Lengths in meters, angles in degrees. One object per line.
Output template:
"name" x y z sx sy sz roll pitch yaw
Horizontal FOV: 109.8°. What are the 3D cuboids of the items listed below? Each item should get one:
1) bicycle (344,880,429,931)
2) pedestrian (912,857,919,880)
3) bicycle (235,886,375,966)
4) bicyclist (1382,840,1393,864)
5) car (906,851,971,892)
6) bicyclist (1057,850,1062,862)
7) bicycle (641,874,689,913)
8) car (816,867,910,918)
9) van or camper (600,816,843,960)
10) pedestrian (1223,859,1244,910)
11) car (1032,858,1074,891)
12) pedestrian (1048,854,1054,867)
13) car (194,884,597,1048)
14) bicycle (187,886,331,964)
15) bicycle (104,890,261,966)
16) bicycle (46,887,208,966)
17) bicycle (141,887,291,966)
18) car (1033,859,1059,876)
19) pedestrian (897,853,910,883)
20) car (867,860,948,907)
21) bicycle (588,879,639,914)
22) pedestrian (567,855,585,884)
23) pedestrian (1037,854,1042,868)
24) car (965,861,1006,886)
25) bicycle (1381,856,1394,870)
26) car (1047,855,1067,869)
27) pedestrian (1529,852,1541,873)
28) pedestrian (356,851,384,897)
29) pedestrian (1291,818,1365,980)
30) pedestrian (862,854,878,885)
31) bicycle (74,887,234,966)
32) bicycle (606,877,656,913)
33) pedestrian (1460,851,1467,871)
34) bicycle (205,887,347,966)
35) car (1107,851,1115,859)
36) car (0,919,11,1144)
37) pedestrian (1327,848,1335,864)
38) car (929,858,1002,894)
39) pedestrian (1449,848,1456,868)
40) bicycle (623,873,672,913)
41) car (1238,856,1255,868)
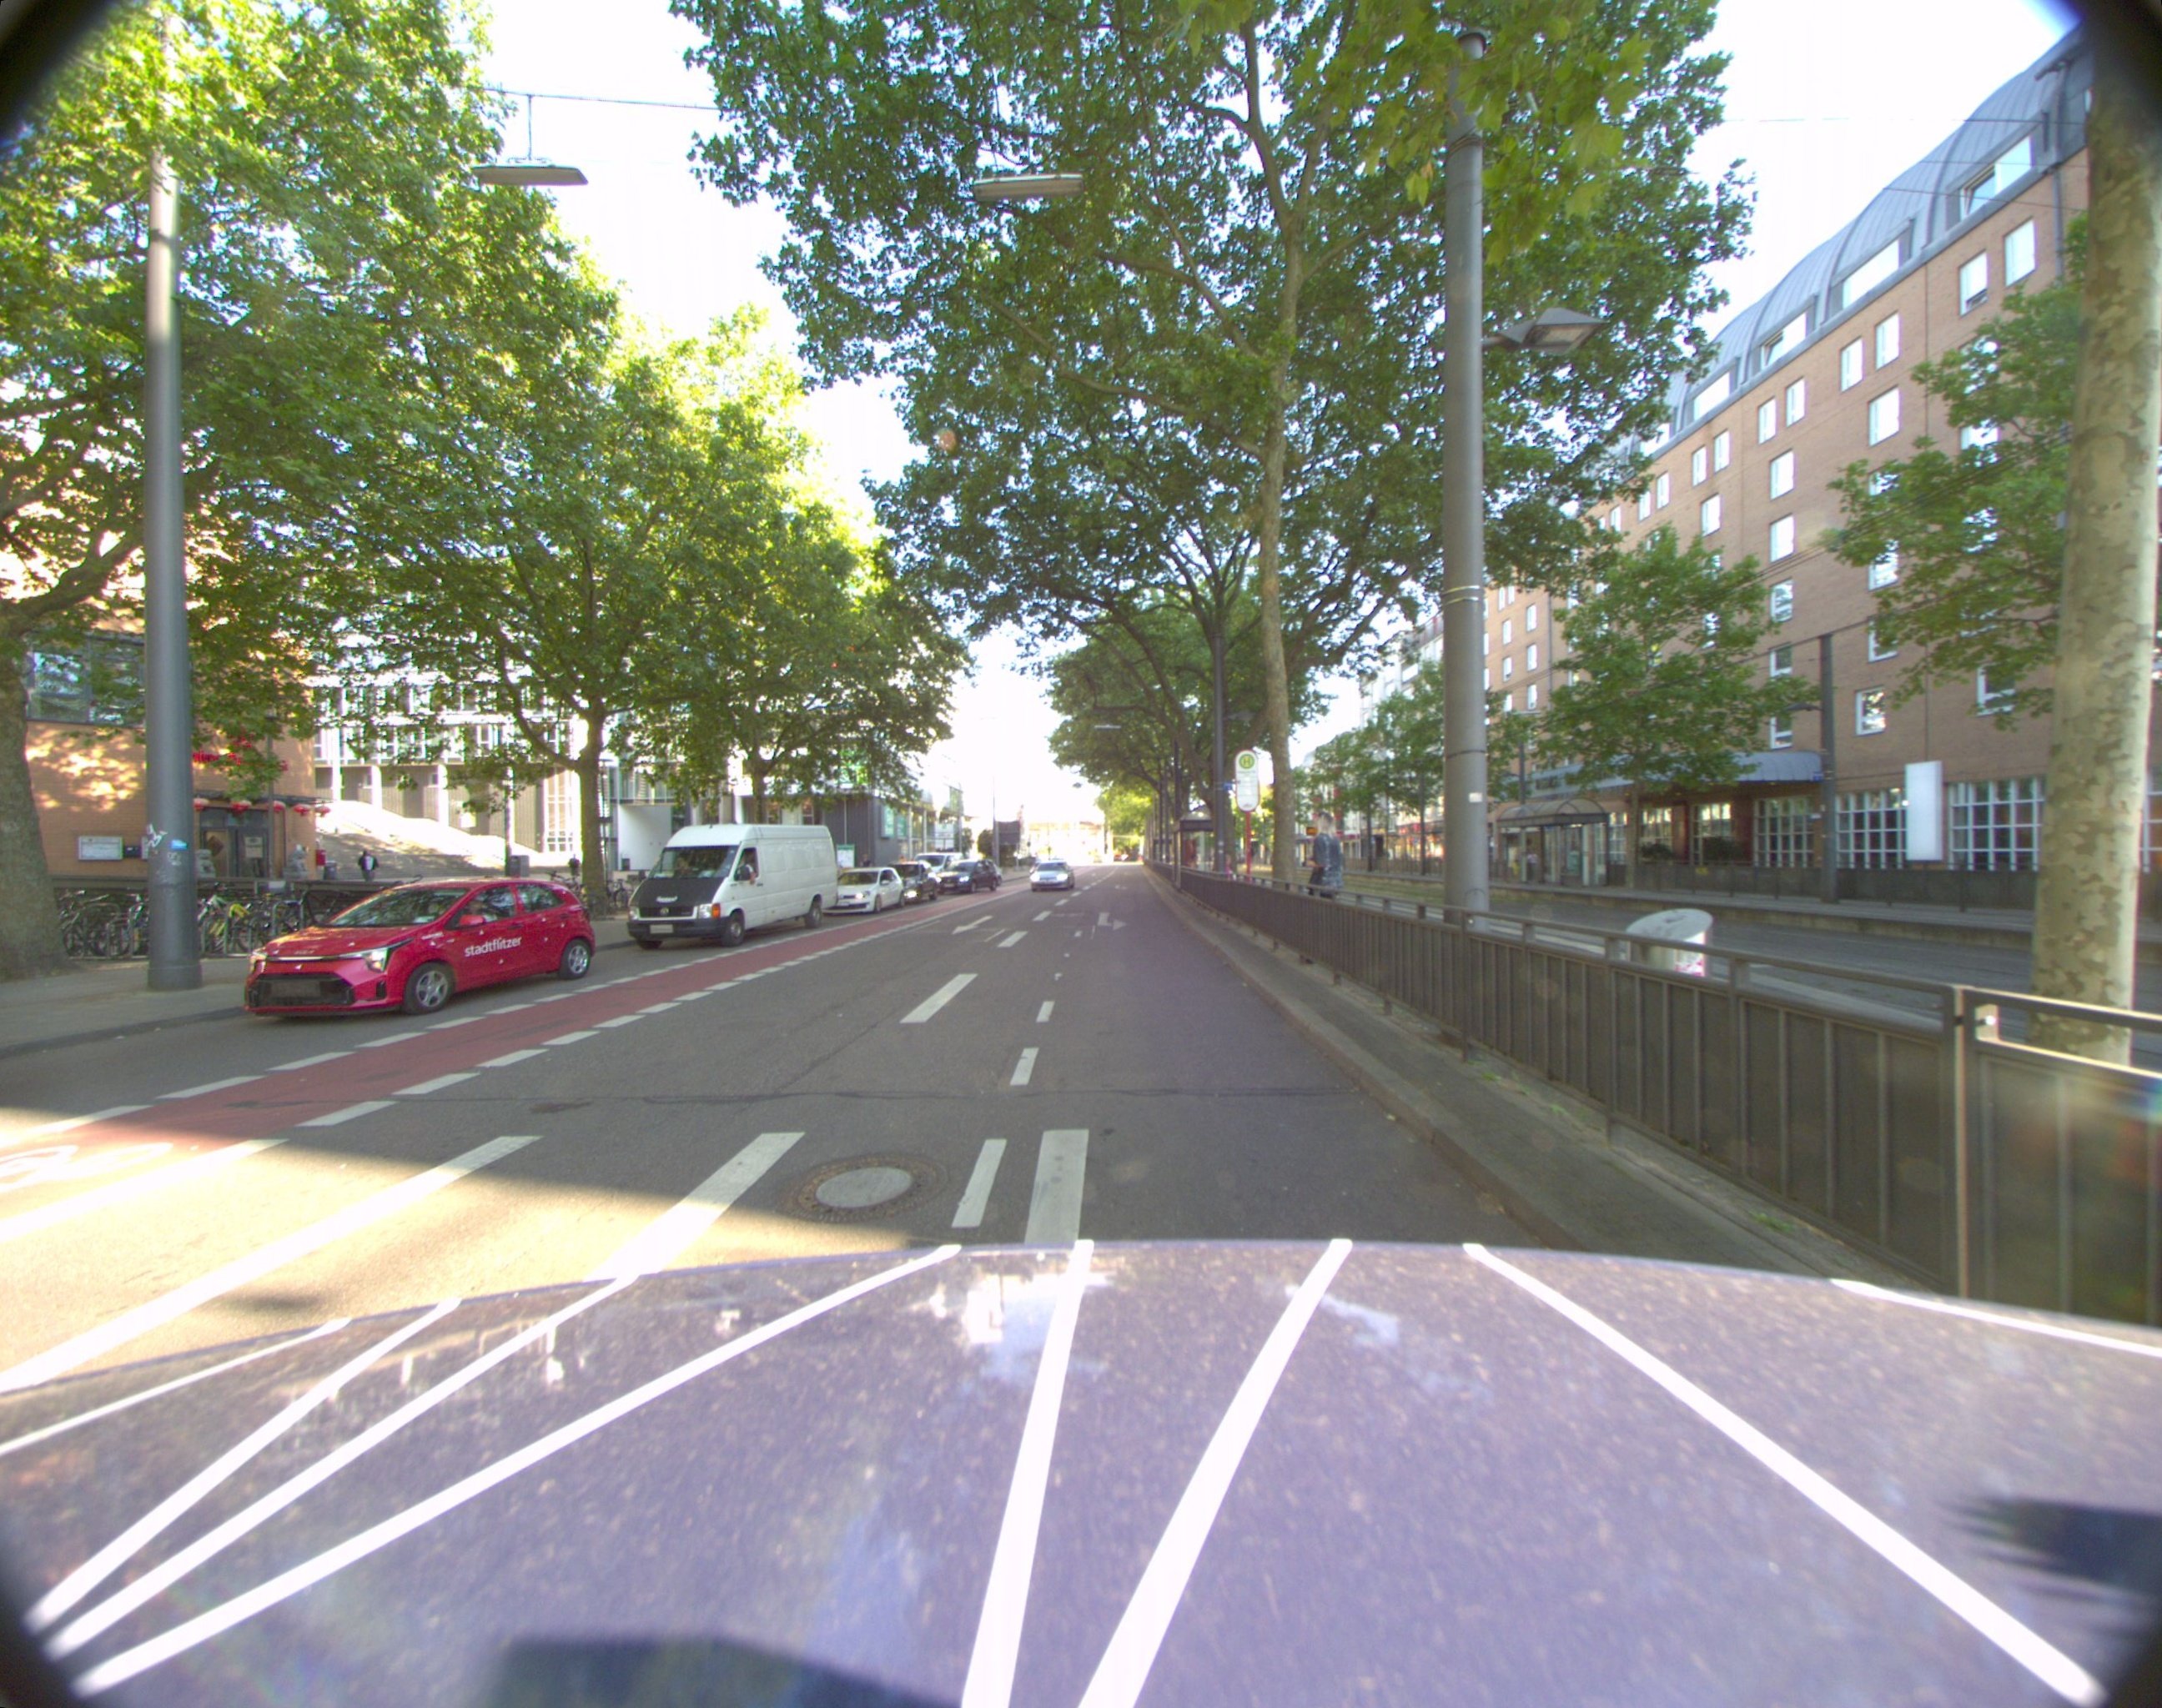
"bicycle" -17.865 1.287 19.592 0.517 1.187 1.790 0 0 1
"pedestrian" -9.969 0.873 45.738 0.301 1.367 0.502 -1 1 4
"bicycle" -13.323 1.195 13.129 0.482 1.187 1.850 0 0 1
"bicyclist" 23.565 -0.149 58.490 0.572 1.893 0.813 0 1 6
"car" -7.492 0.864 40.427 1.965 1.983 4.960 -1 0 7
"bicyclist" -3.031 0.309 106.301 0.673 1.707 0.715 -1 1 1
"bicycle" -13.578 1.270 24.841 0.522 1.187 1.850 0 0 1
"car" -7.003 1.188 24.863 1.682 1.420 4.001 -1 0 3
"van or camper" -7.554 0.611 17.056 1.998 2.563 6.575 -2 0 3
"pedestrian" 3.926 0.780 19.624 0.500 1.308 0.419 0 1 8
"car" -1.326 0.977 37.445 1.733 1.432 4.000 -2 0 2
"pedestrian" -3.822 0.793 96.667 0.648 1.644 0.643 -1 1 1
"car" -7.951 1.180 9.351 1.606 1.449 3.651 -1 0 0
"bicycle" -14.332 1.202 13.325 0.484 1.187 1.850 0 0 1
"bicycle" -15.431 1.237 13.134 0.485 1.118 1.850 0 0 1
"bicycle" -16.392 1.199 13.138 0.435 1.187 1.850 0 0 1
"bicycle" -14.848 1.201 13.125 0.447 1.187 1.850 0 0 1
"car" -2.995 1.133 65.214 1.801 1.369 4.001 0 0 3
"pedestrian" -10.381 0.815 44.422 0.627 1.758 0.451 -1 1 2
"car" -6.705 1.086 29.822 1.818 1.610 4.229 -1 0 5
"bicycle" -15.226 1.366 24.794 0.516 1.027 1.850 0 0 1
"pedestrian" -27.090 0.833 40.757 0.719 1.549 0.639 -1 1 -35
"pedestrian" -5.220 0.877 95.870 0.611 1.644 0.583 -1 1 1
"car" -5.816 1.176 46.740 1.801 1.369 4.001 0 0 3
"bicycle" 23.626 0.685 58.568 0.451 0.998 1.753 0 0 6
"car" -2.521 0.845 81.344 1.801 1.438 4.001 0 0 3
"pedestrian" 30.283 0.550 50.663 0.519 1.427 0.516 0 1 4
"pedestrian" -31.658 0.893 33.845 0.878 2.025 0.584 -1 1 -43
"pedestrian" 3.003 0.512 9.252 0.607 1.873 0.621 -4 4 -41
"pedestrian" -12.019 0.891 43.294 0.715 1.758 0.526 -1 1 2
"bicycle" -15.929 1.204 13.136 0.458 1.187 1.850 0 0 1
"bicycle" -14.665 1.313 24.819 0.522 1.088 1.797 0 0 1
"pedestrian" 29.104 0.546 57.821 0.438 1.511 0.659 0 1 23
"bicycle" -13.826 1.206 13.134 0.448 1.187 1.850 0 0 1
"car" 7.960 0.326 204.113 1.998 2.002 4.001 -1 0 4
"car" -7.987 1.179 2.901 1.743 1.476 4.251 -1 0 0
"pedestrian" 31.503 0.290 95.740 0.806 2.002 0.763 -1 1 1
"car" -5.542 1.018 37.084 1.964 1.610 4.335 -1 0 14
"pedestrian" 28.453 0.318 58.210 0.438 1.497 0.659 0 1 23
"bicycle" -14.121 1.257 24.820 0.495 1.187 1.850 0 0 1
"car" 26.836 1.348 123.405 1.998 1.849 4.000 -1 0 1
